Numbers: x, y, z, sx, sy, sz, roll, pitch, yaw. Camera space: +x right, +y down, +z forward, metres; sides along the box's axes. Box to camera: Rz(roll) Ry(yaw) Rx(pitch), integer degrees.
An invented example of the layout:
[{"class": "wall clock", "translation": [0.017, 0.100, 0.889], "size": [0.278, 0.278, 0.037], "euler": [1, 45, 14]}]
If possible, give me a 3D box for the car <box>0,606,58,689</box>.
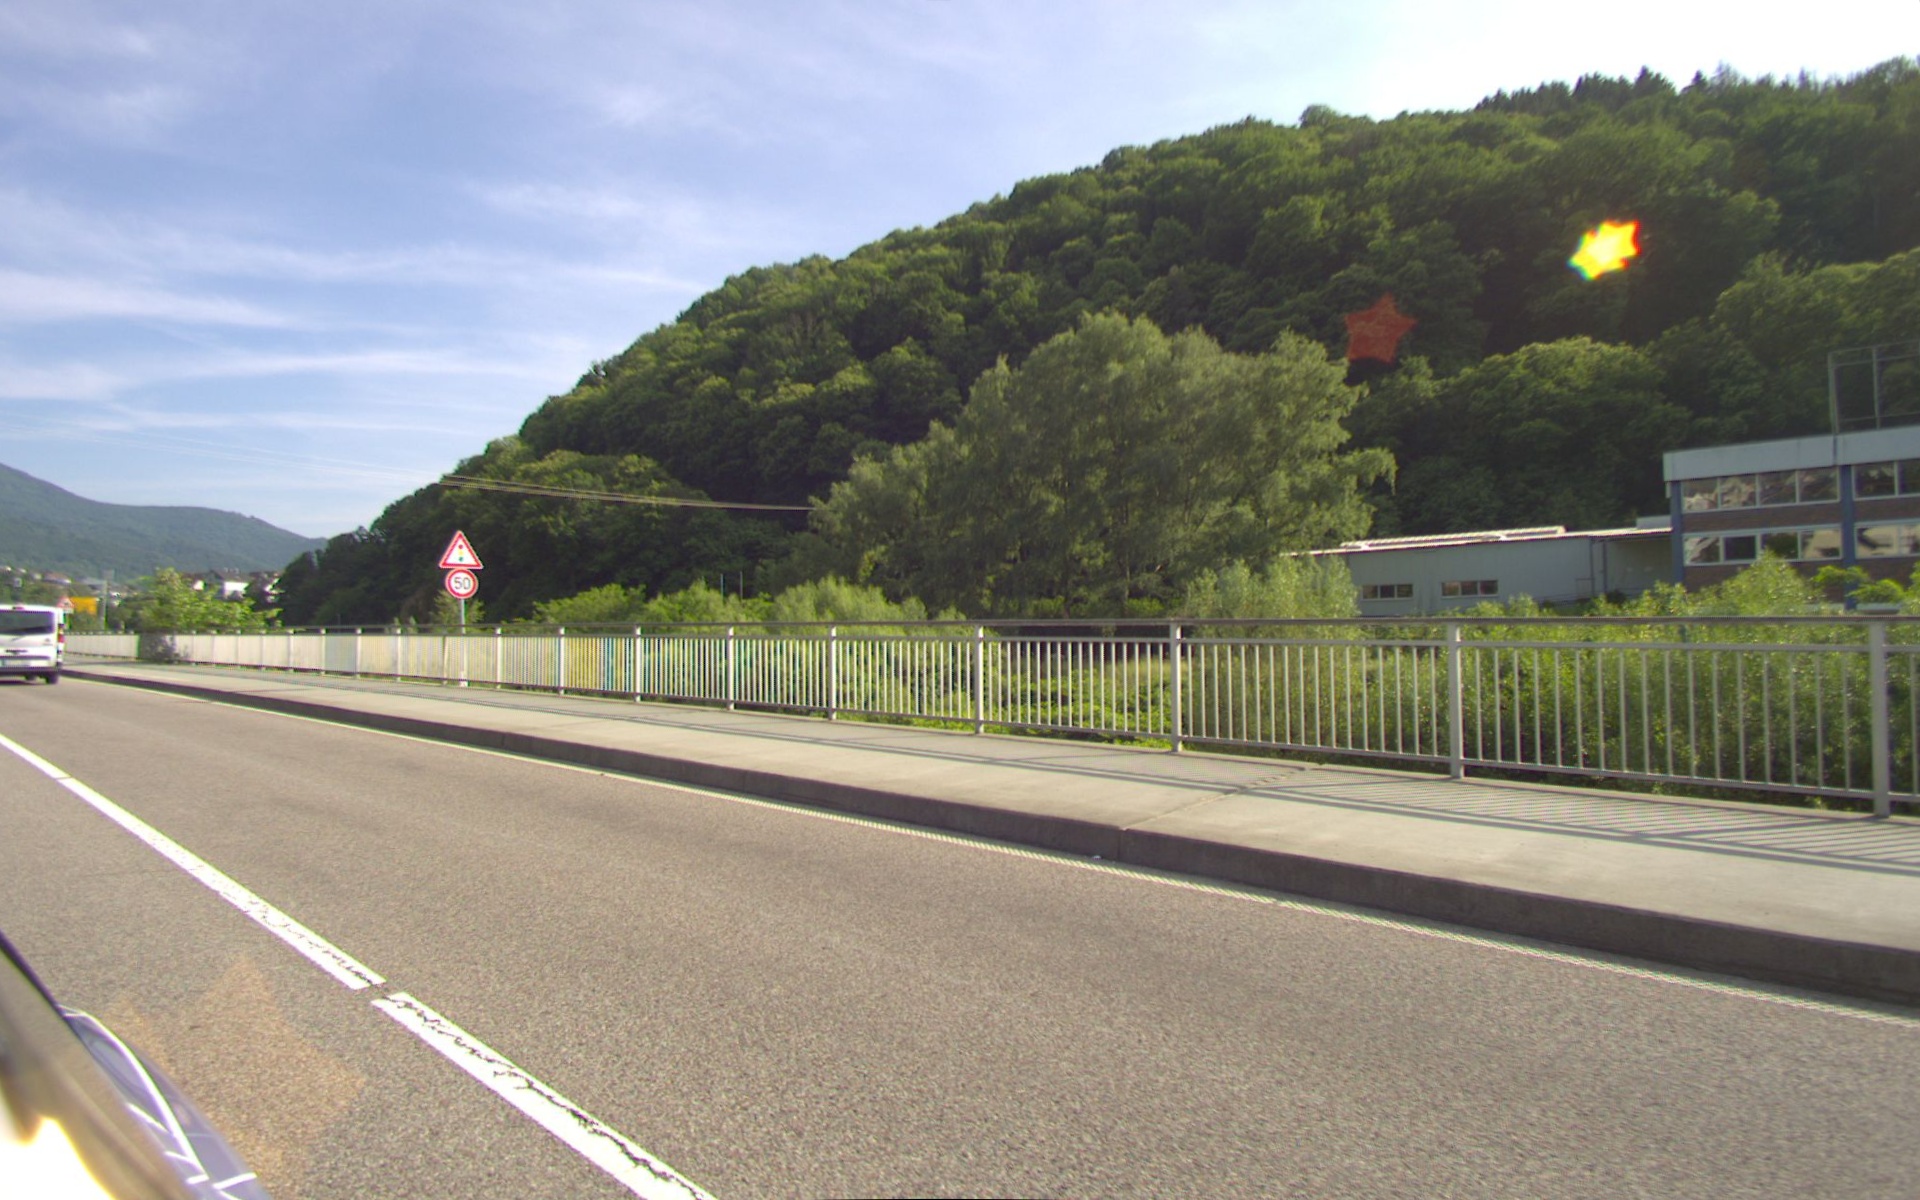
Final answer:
[{"class": "car", "translation": [-24.845, 1.160, 26.030], "size": [5.145, 1.982, 1.899], "euler": [-1, -3, 43]}]
